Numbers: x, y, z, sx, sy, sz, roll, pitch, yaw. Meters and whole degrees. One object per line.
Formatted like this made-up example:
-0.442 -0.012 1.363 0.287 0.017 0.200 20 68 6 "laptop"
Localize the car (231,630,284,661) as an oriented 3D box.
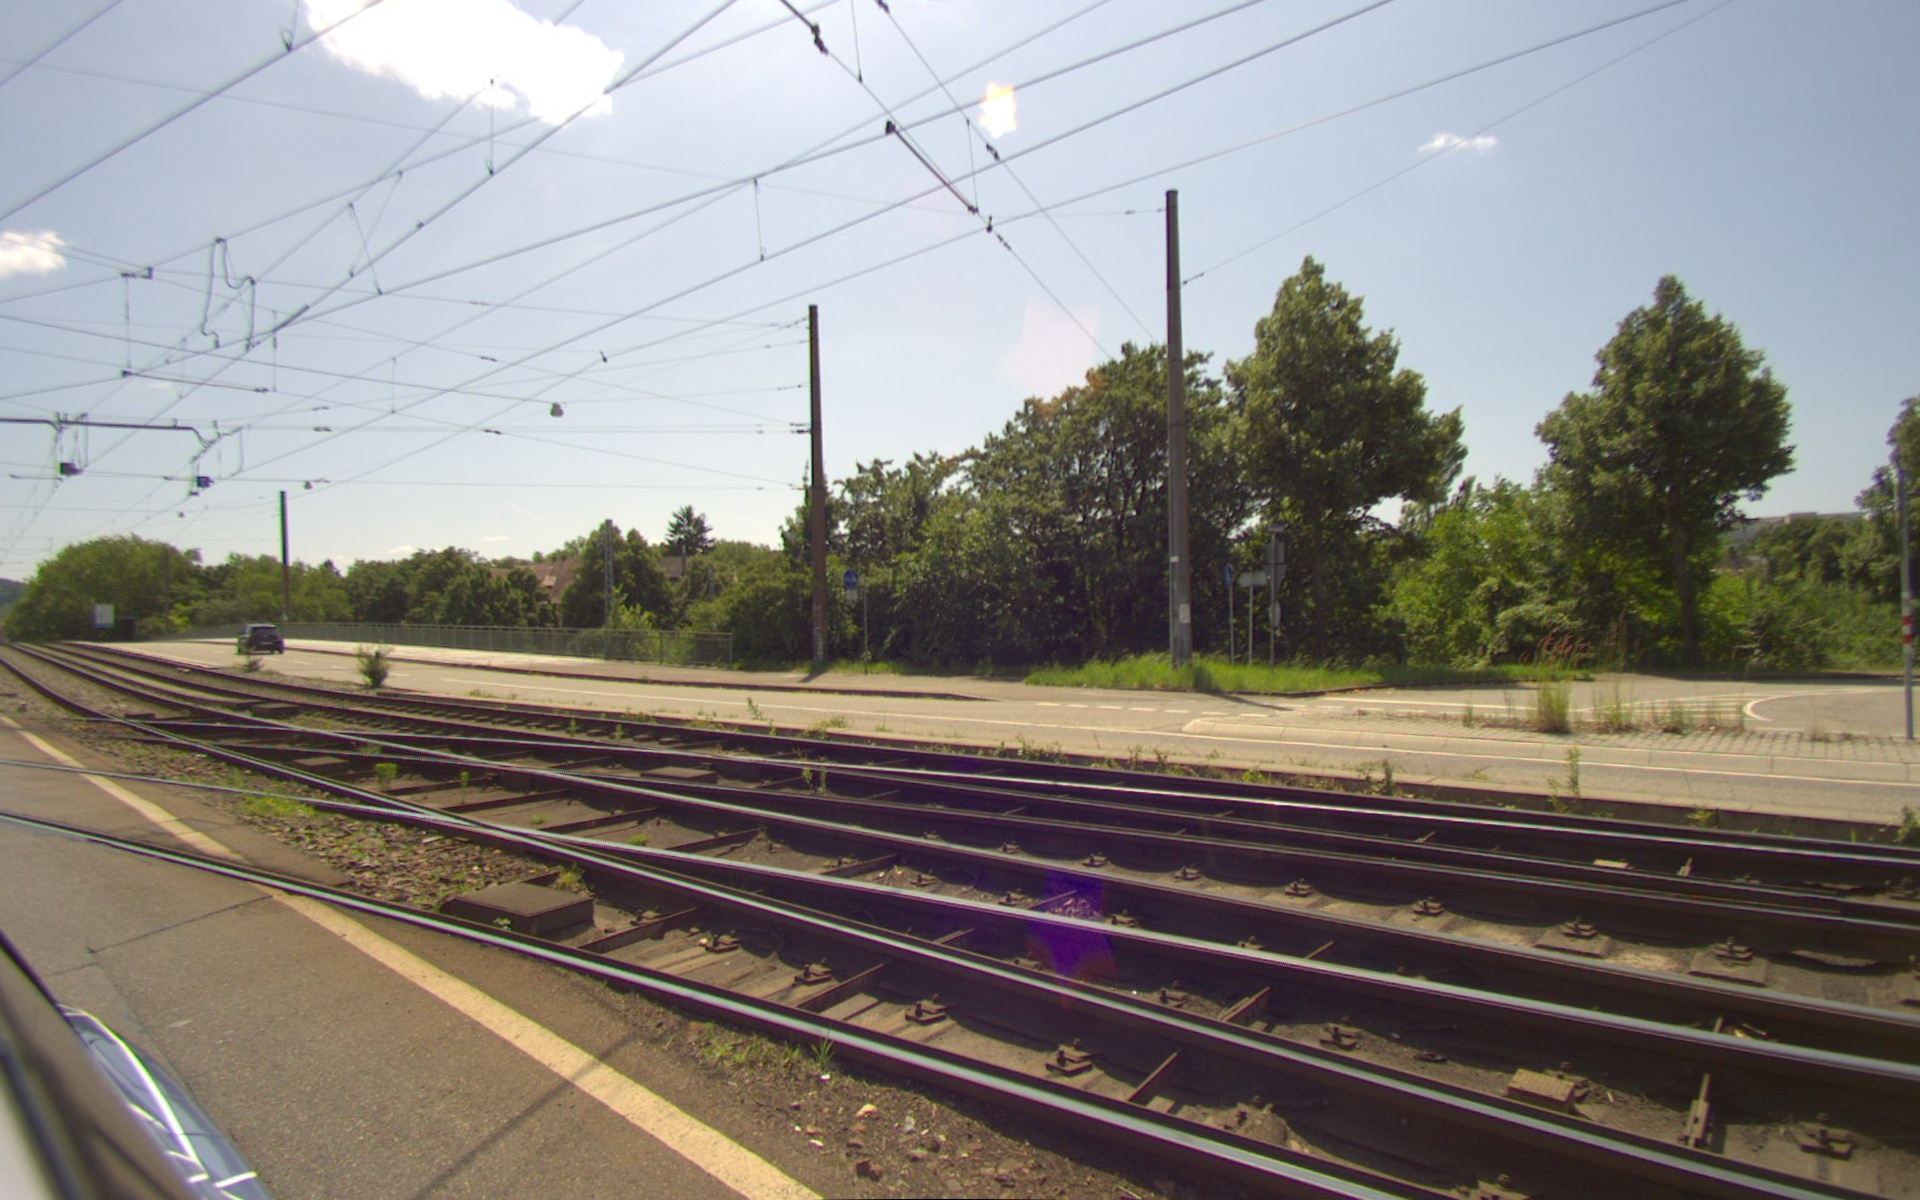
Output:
-36.881 2.392 53.101 1.685 1.522 3.735 2 -3 -45 "car"
